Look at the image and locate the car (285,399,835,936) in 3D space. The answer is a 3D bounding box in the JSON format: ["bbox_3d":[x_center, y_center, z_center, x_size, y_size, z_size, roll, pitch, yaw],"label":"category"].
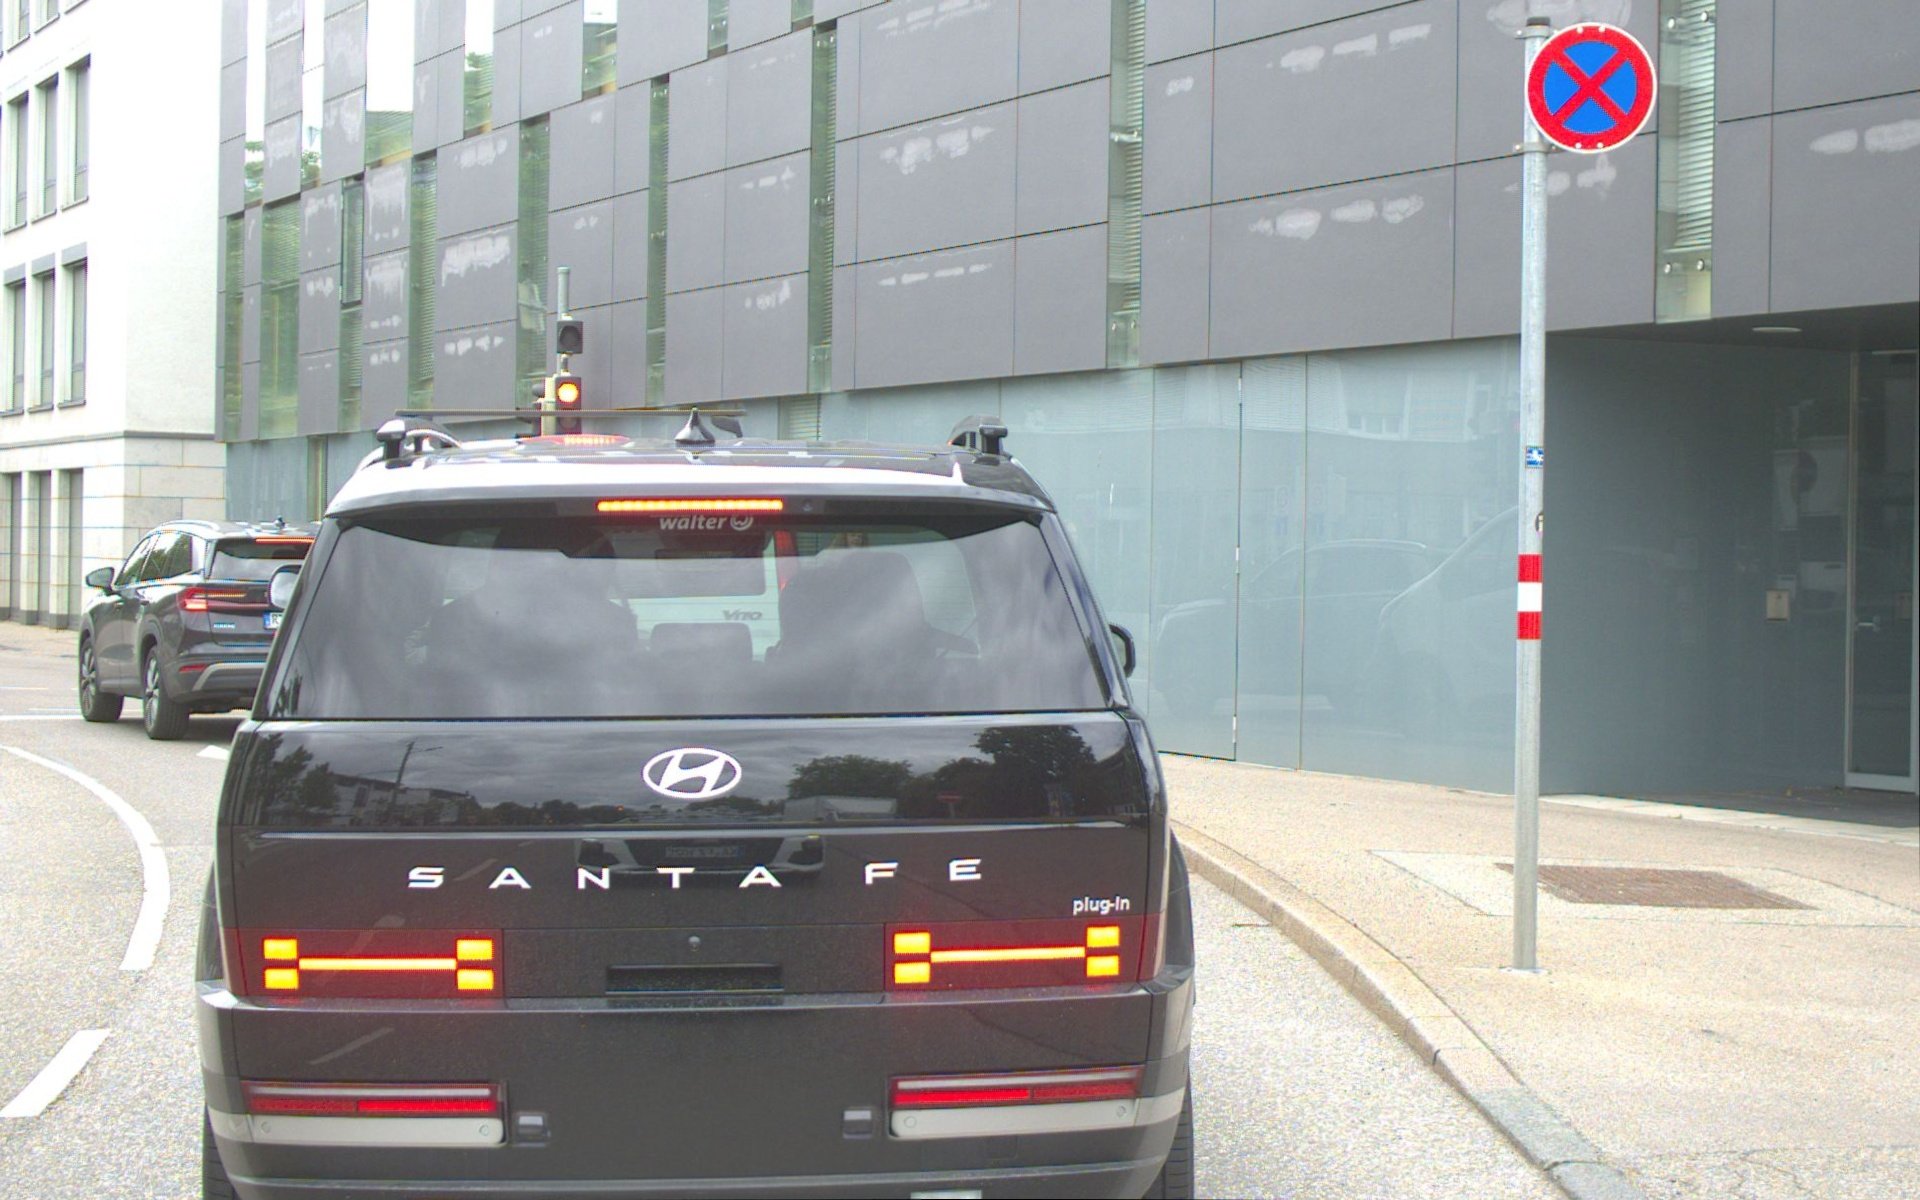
[{"bbox_3d":[-1.924,0.220,15.154,1.931,1.987,4.536,1,1,-12],"label":"car"}]

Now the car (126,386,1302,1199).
[{"bbox_3d":[-0.637,0.490,7.785,1.908,1.743,4.398,0,1,-7],"label":"car"}]

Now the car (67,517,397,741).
[{"bbox_3d":[-5.768,0.172,26.857,1.759,1.603,4.189,1,1,-23],"label":"car"}]

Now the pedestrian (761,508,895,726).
[{"bbox_3d":[-1.045,0.130,27.149,0.711,1.688,0.866,1,0,-27],"label":"pedestrian"}]
